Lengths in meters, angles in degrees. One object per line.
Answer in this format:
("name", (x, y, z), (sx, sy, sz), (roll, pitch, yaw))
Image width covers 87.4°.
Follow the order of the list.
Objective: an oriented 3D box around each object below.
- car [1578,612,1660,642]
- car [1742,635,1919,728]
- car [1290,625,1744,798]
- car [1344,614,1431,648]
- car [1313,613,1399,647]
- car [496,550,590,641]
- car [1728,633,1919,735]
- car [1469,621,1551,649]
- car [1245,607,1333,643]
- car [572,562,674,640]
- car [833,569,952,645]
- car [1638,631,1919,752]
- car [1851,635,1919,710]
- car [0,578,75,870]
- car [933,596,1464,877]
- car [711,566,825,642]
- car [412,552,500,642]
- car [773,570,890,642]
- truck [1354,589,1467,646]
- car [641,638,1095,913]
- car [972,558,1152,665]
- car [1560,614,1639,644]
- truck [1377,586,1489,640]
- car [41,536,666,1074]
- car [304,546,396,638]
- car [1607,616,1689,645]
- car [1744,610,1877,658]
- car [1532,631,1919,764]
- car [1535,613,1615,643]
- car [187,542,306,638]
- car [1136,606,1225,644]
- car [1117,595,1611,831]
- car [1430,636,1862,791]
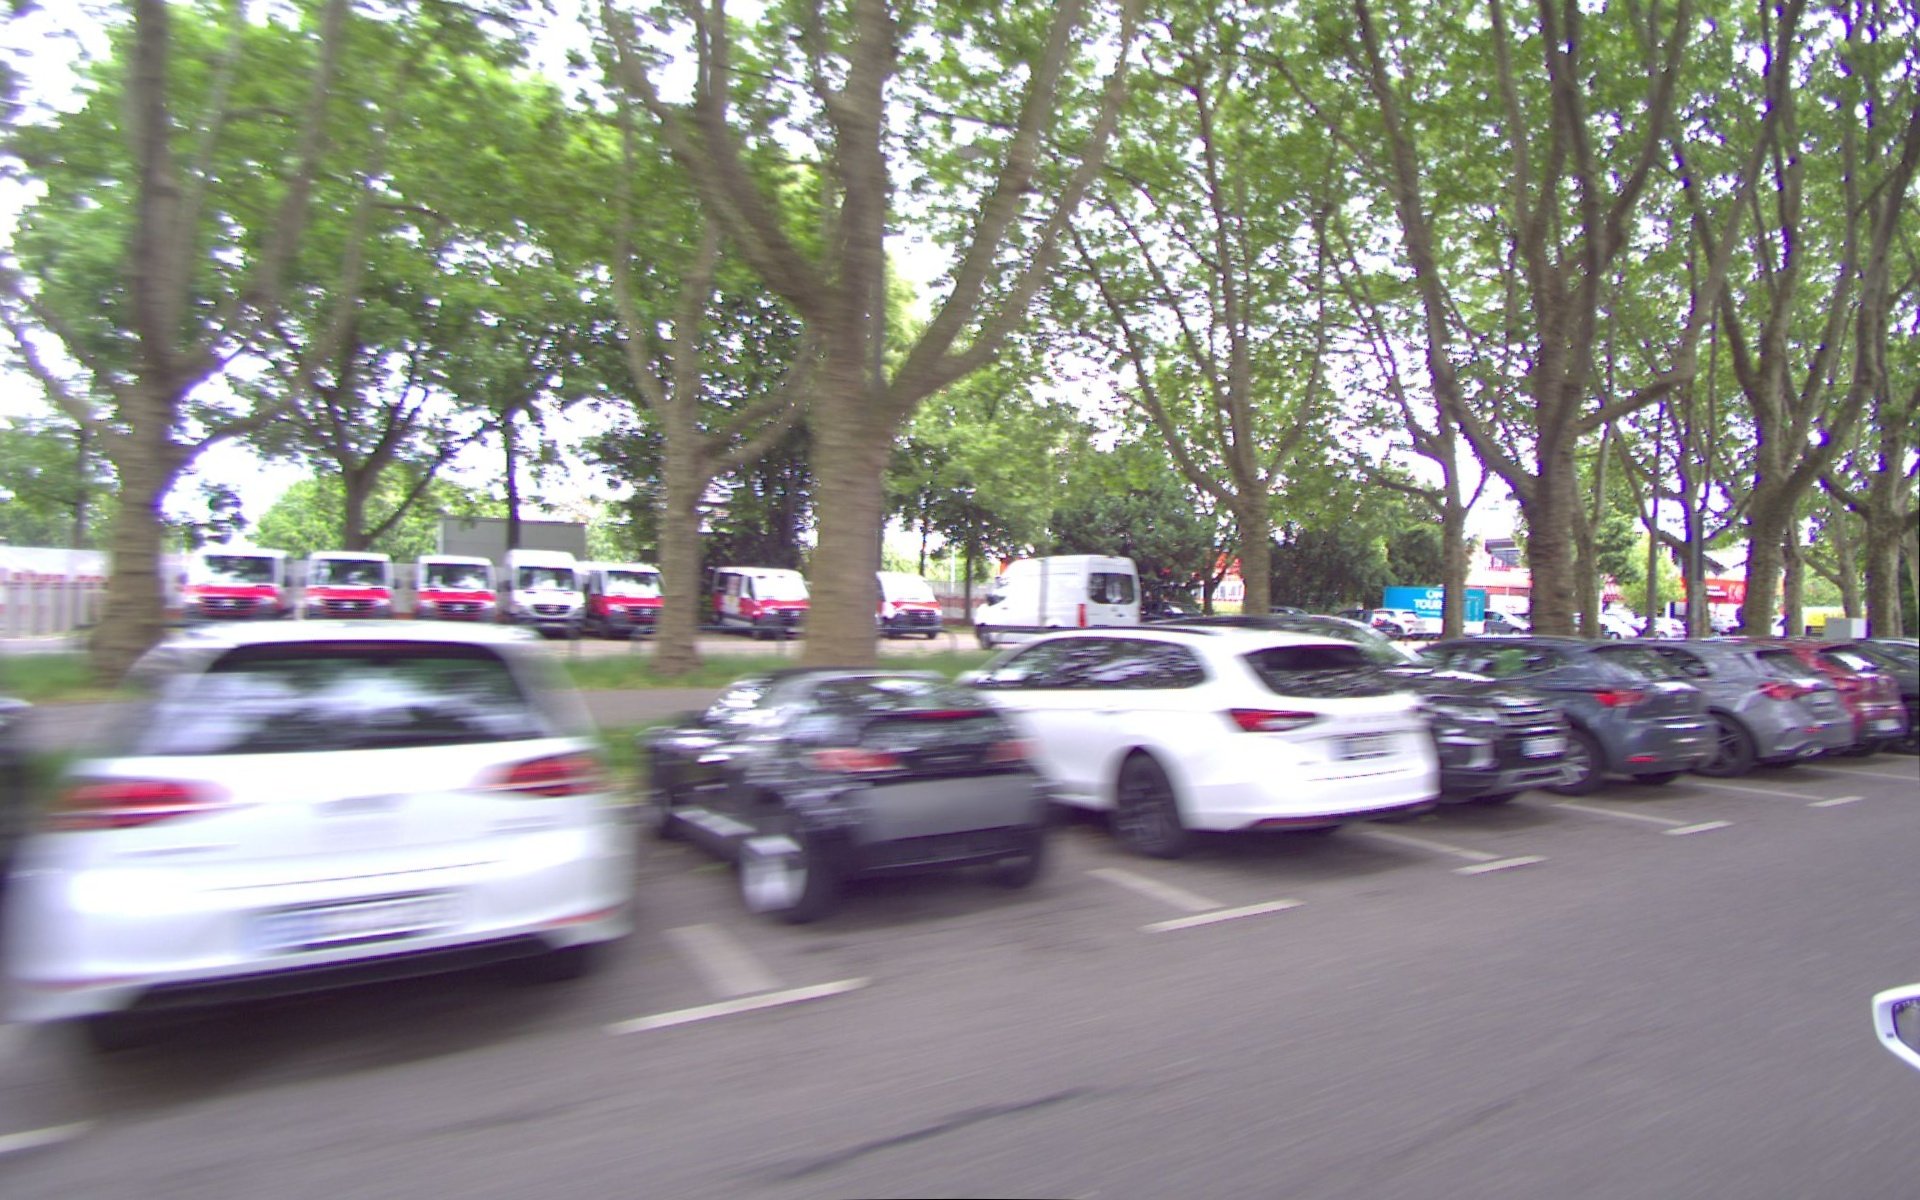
("car", (40.631, 1.649, 61.996), (1.669, 1.611, 3.980), (1, 1, -21))
("car", (15.913, 1.329, 16.638), (1.676, 1.448, 4.377), (1, -2, -32))
("car", (5.568, 0.993, 10.531), (1.781, 1.448, 3.808), (1, -2, -31))
("car", (21.683, 1.564, 51.094), (1.693, 1.506, 3.782), (1, 1, -31))
("car", (19.708, 1.480, 50.097), (1.659, 1.506, 3.782), (1, 1, -31))
("car", (-13.080, -0.176, 31.292), (1.976, 2.561, 5.973), (1, 1, -30))
("car", (14.171, 1.244, 15.146), (1.676, 1.448, 3.806), (2, -2, -32))
("car", (30.304, 1.909, 55.437), (1.518, 1.368, 3.736), (1, 1, -31))
("car", (15.471, 1.139, 47.418), (1.659, 1.506, 3.782), (1, 1, -31))
("car", (-10.935, -0.025, 32.245), (1.976, 2.270, 5.973), (1, 1, -30))
("car", (-2.618, 0.177, 37.120), (1.976, 2.561, 5.973), (1, 1, -30))
("car", (11.774, 1.159, 13.575), (1.676, 1.448, 3.999), (1, -2, -32))
("car", (20.075, 1.413, 19.174), (1.676, 1.448, 4.309), (1, -2, -32))
("car", (-4.907, 0.564, 3.761), (1.676, 1.383, 4.377), (1, -2, -32))
("car", (1.477, 0.793, 7.511), (1.676, 1.517, 3.806), (1, -2, -32))
("car", (-6.692, 0.078, 34.356), (1.976, 2.361, 5.973), (1, 1, -30))
("car", (-14.856, -0.129, 29.438), (1.976, 2.349, 5.973), (1, 1, -30))
("car", (-4.680, 0.132, 35.644), (1.976, 2.336, 5.973), (1, 1, -30))
("truck", (23.749, 0.849, 53.169), (1.905, 2.779, 5.288), (1, 1, -29))
("car", (-0.803, 0.876, 6.446), (1.568, 1.218, 3.296), (1, -2, -33))
("car", (2.635, 0.240, 27.721), (1.976, 2.632, 5.760), (1, 1, -29))
("car", (38.467, 1.738, 60.514), (1.519, 1.611, 3.734), (1, 1, -32))
("truck", (25.857, 0.656, 55.139), (2.180, 2.779, 5.212), (1, 1, -29))
("car", (-2.777, 0.604, 4.784), (1.676, 1.448, 3.806), (1, -2, -32))
("car", (-16.988, -0.252, 28.185), (1.976, 2.283, 5.973), (1, 1, -30))
("car", (43.363, 1.881, 63.389), (1.669, 1.611, 3.980), (1, 1, -21))
("car", (44.416, 1.717, 52.572), (1.518, 2.262, 5.051), (1, 1, -31))
("car", (9.816, 1.136, 13.137), (1.672, 1.448, 3.815), (1, -2, -25))
("car", (36.406, 1.653, 59.552), (1.519, 1.611, 3.734), (1, 1, -32))
("car", (-18.967, -0.280, 26.953), (1.976, 2.283, 5.973), (1, 1, -30))
("car", (9.608, 1.068, 43.935), (1.659, 1.506, 3.782), (1, 1, -31))
("car", (3.377, 0.839, 9.079), (1.839, 1.629, 3.805), (1, -2, -33))
("car", (7.717, 1.156, 11.659), (1.676, 1.448, 3.806), (1, -2, -32))
